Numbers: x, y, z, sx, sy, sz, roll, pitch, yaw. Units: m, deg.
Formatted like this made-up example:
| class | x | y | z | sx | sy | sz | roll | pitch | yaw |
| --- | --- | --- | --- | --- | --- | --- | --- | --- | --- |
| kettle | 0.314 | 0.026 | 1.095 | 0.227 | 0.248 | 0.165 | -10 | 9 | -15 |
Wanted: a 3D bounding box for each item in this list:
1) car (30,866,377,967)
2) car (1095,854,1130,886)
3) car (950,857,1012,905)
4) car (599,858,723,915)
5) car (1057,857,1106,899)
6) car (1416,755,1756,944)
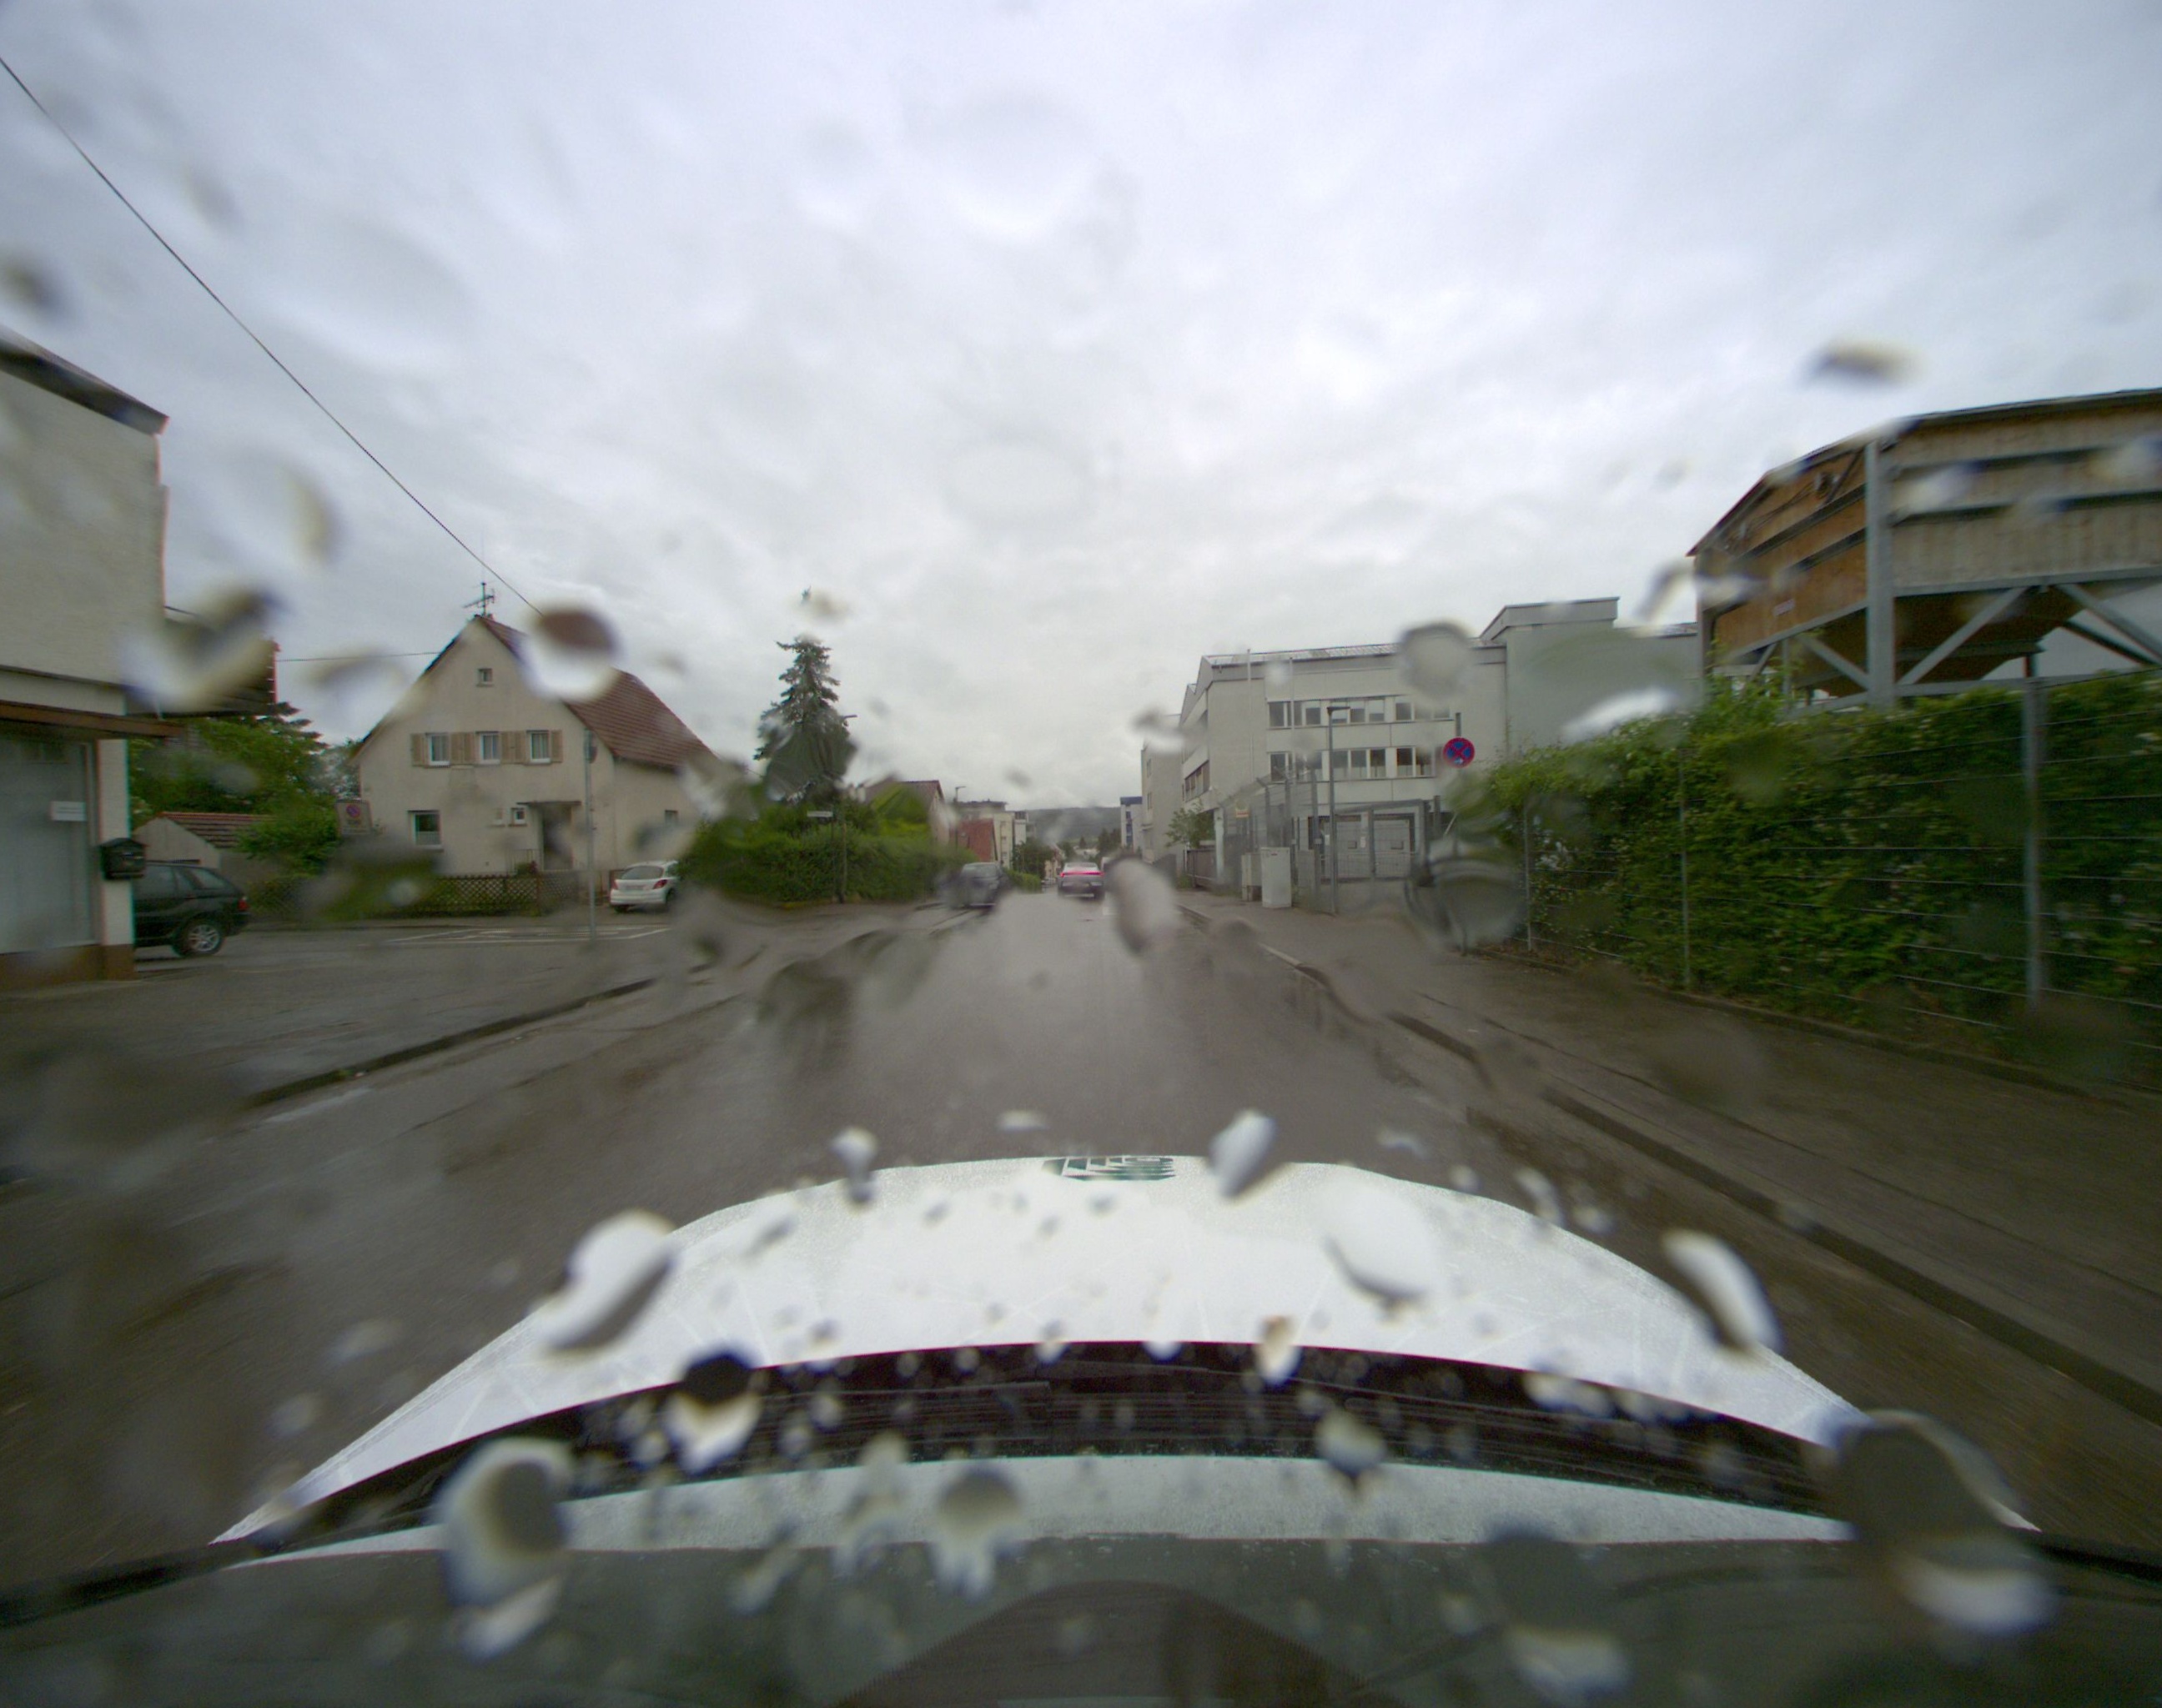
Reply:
| class | x | y | z | sx | sy | sz | roll | pitch | yaw |
| --- | --- | --- | --- | --- | --- | --- | --- | --- | --- |
| car | -16.773 | 1.145 | 16.025 | 1.853 | 1.659 | 4.543 | -1 | -2 | 0 |
| car | 2.127 | 1.103 | 55.768 | 1.989 | 2.014 | 3.995 | -3 | -2 | -3 |
| car | -3.445 | 0.889 | 28.668 | 1.670 | 1.528 | 3.999 | -2 | 0 | 0 |
| car | -13.318 | 0.980 | 26.114 | 1.788 | 1.508 | 4.001 | -2 | 2 | 1 |
| car | 0.048 | 0.999 | 35.934 | 1.987 | 1.502 | 4.670 | -1 | 2 | 0 |
| car | 8.680 | -0.123 | 14.949 | 1.991 | 2.684 | 5.939 | -3 | 1 | -6 |
